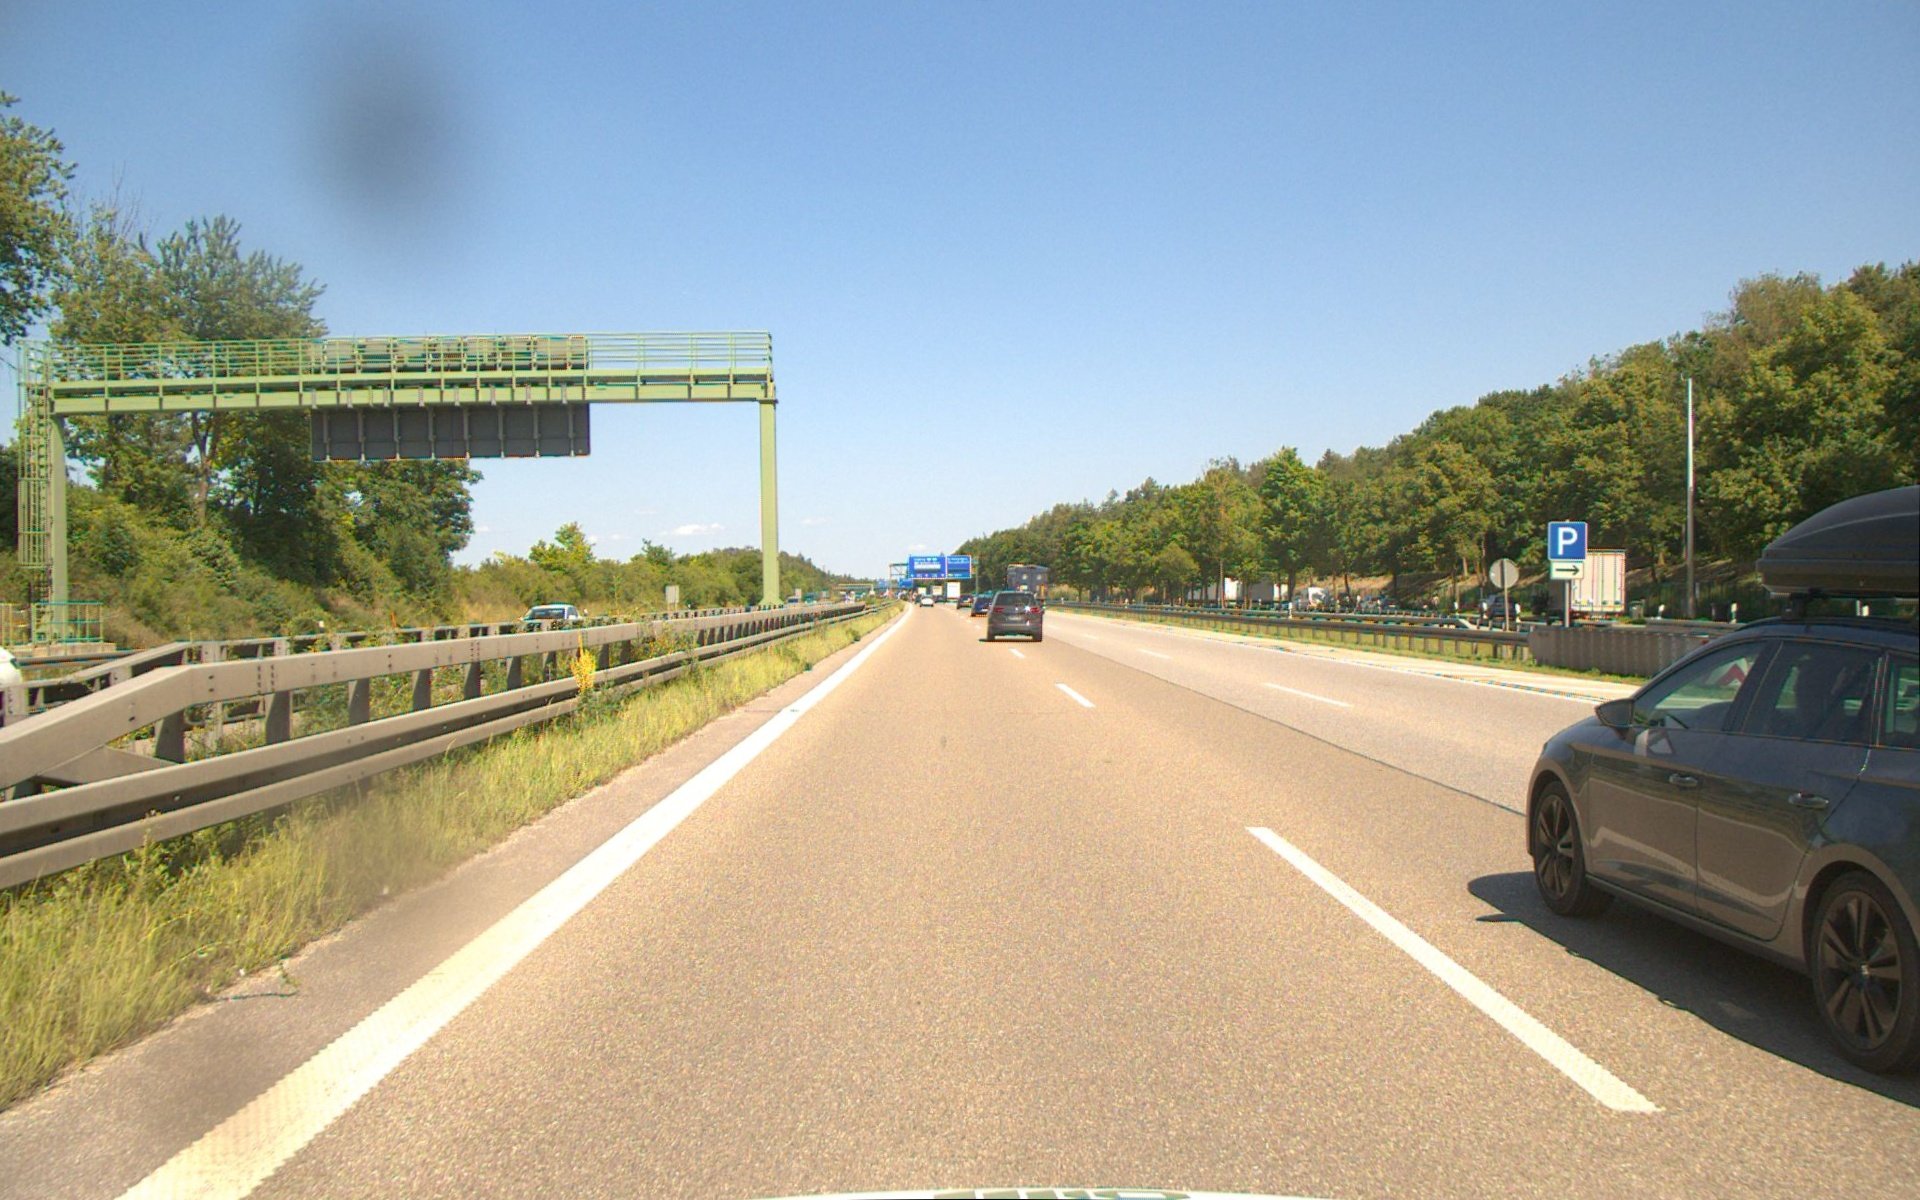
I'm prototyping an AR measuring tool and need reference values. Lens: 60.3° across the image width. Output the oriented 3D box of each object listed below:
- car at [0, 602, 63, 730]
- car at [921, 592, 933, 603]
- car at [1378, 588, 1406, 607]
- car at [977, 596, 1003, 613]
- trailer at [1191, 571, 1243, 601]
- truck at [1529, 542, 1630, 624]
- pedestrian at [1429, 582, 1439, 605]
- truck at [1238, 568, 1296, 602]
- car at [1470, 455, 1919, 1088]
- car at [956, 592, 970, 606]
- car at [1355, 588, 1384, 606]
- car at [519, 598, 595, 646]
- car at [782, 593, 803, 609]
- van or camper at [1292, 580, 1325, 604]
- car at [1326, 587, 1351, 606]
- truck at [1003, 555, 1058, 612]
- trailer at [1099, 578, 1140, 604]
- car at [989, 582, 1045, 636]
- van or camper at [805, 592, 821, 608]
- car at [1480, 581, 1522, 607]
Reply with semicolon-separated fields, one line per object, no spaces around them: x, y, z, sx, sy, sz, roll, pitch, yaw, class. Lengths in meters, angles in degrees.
-13.318;0.897;20.202;1.840;1.638;5.309;-2;0;-1;car
-4.087;-0.322;205.693;1.441;1.249;3.409;0;0;-1;car
38.786;-0.225;148.649;1.951;1.601;4.003;0;0;7;car
2.086;0.337;116.822;1.674;1.176;3.688;0;0;-1;car
33.959;-1.784;219.463;2.804;3.863;14.163;0;0;-8;trailer
32.262;-0.862;86.520;3.215;4.016;9.359;-1;0;10;truck
38.928;-0.539;135.877;0.781;1.813;0.643;-1;0;12;pedestrian
36.751;-1.717;198.733;2.938;4.000;14.442;0;0;-6;truck
3.664;0.487;6.630;1.631;1.909;4.826;-1;0;-1;car
0.328;-0.157;175.467;1.441;1.422;3.409;2;0;-1;car
38.398;-0.294;155.088;1.622;1.705;4.651;0;0;0;car
-13.690;0.712;56.382;1.632;1.489;3.881;-3;0;-1;car
-20.448;0.082;202.166;1.953;1.867;5.333;-3;0;0;car
37.425;-0.845;177.744;2.159;2.575;5.874;0;0;-1;van or camper
37.686;-0.366;164.847;1.621;1.910;4.802;0;0;3;car
5.735;-1.291;137.432;3.703;4.499;14.047;0;0;-1;truck
25.362;-1.412;263.929;2.528;3.983;12.701;0;0;-14;trailer
1.894;0.268;54.979;1.762;1.698;4.259;1;0;2;car
-22.463;-0.003;252.717;1.953;2.434;6.239;-2;0;-1;van or camper
36.012;-0.413;110.179;1.951;1.680;4.322;-1;0;8;car
